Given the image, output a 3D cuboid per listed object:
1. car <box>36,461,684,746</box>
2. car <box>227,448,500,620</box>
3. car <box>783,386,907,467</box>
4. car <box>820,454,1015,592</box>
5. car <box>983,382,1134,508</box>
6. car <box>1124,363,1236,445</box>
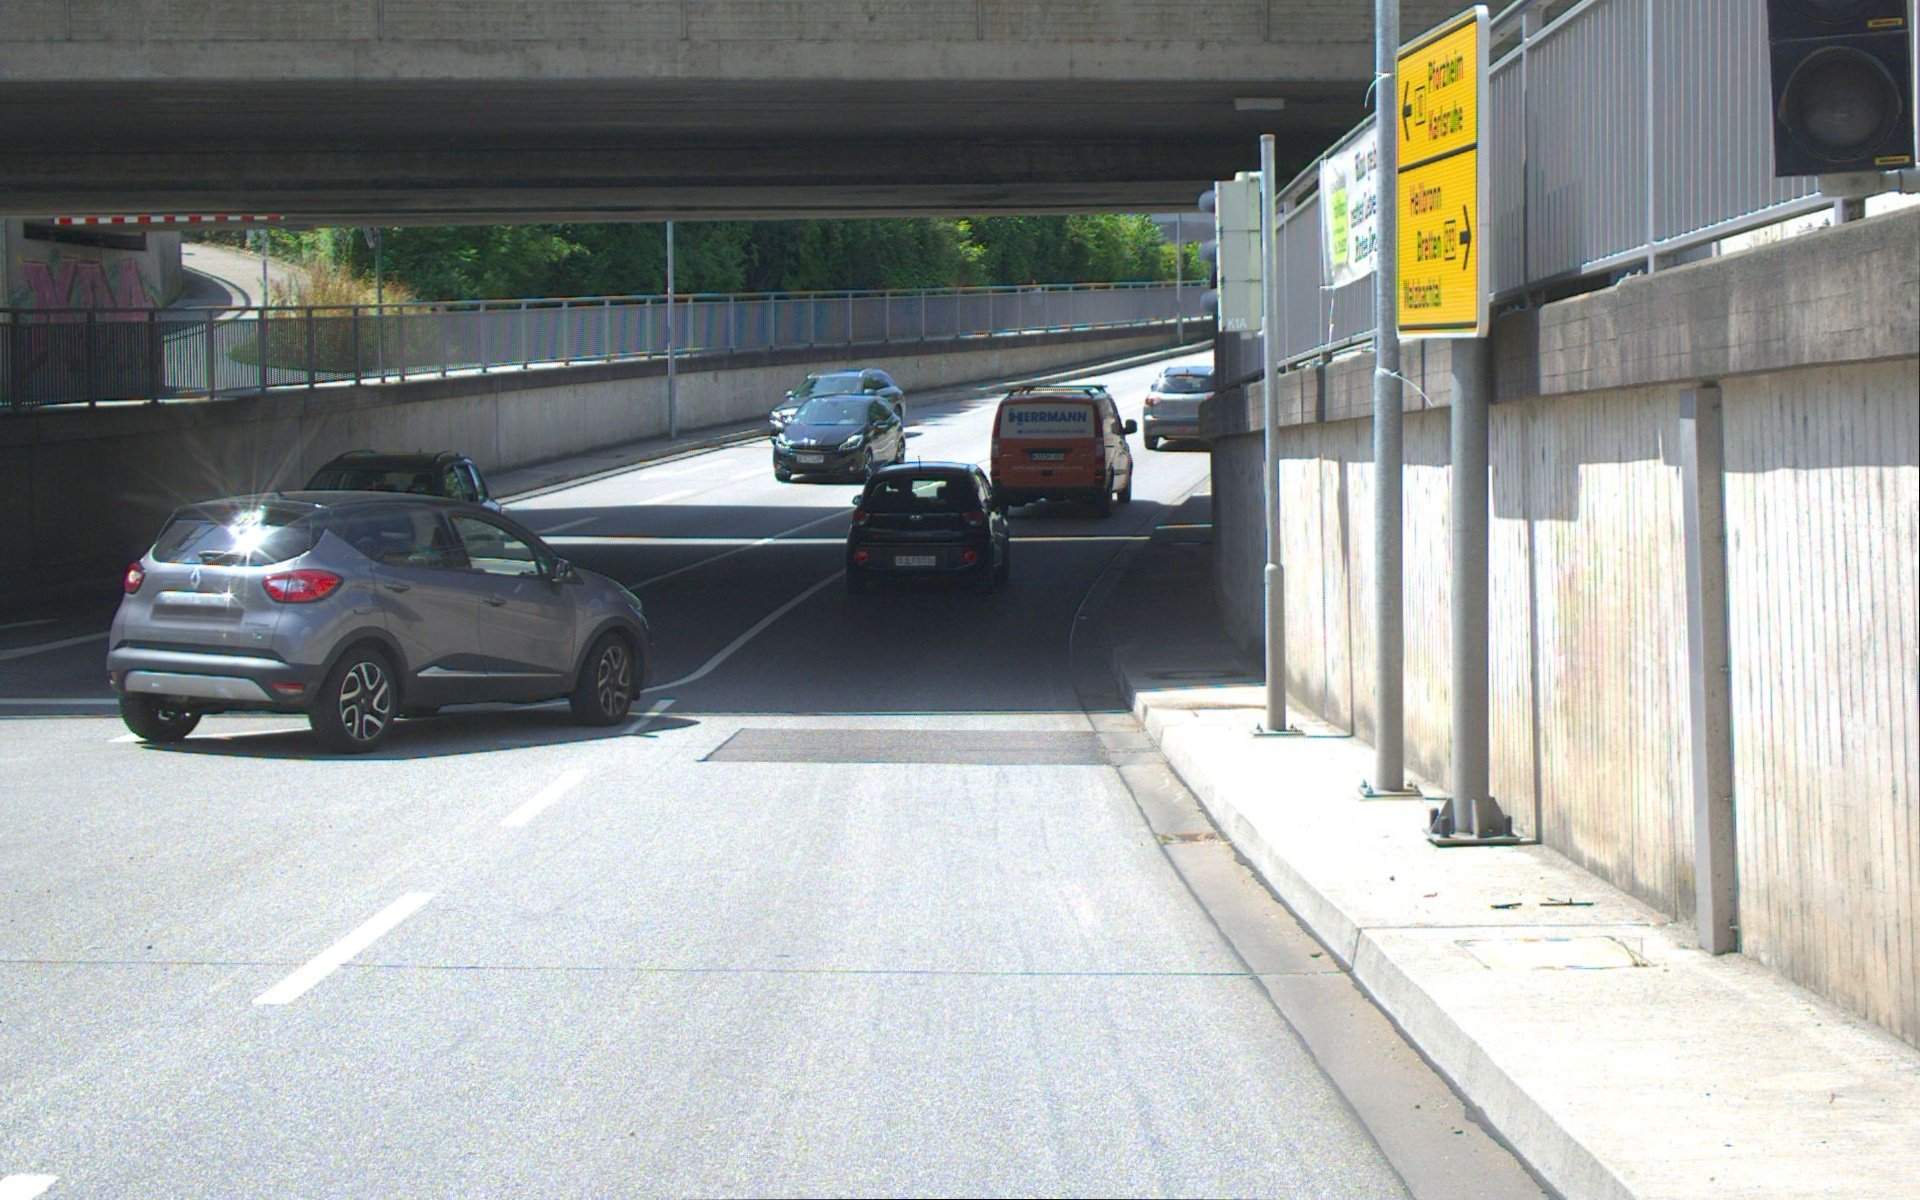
[{"bbox_3d":[-3.755,-0.067,22.204,1.997,1.583,3.994,2,4,31],"label":"car"},{"bbox_3d":[-6.095,-0.732,35.575,1.993,1.621,4.001,0,3,2],"label":"car"},{"bbox_3d":[-2.058,-3.177,62.583,1.782,1.431,4.000,0,3,5],"label":"car"},{"bbox_3d":[-0.444,-0.943,40.374,1.994,1.502,4.000,0,3,4],"label":"car"},{"bbox_3d":[1.625,-2.522,55.115,1.873,1.925,4.718,1,3,8],"label":"car"},{"bbox_3d":[4.508,-3.979,69.954,1.805,1.612,3.999,1,3,10],"label":"car"}]
